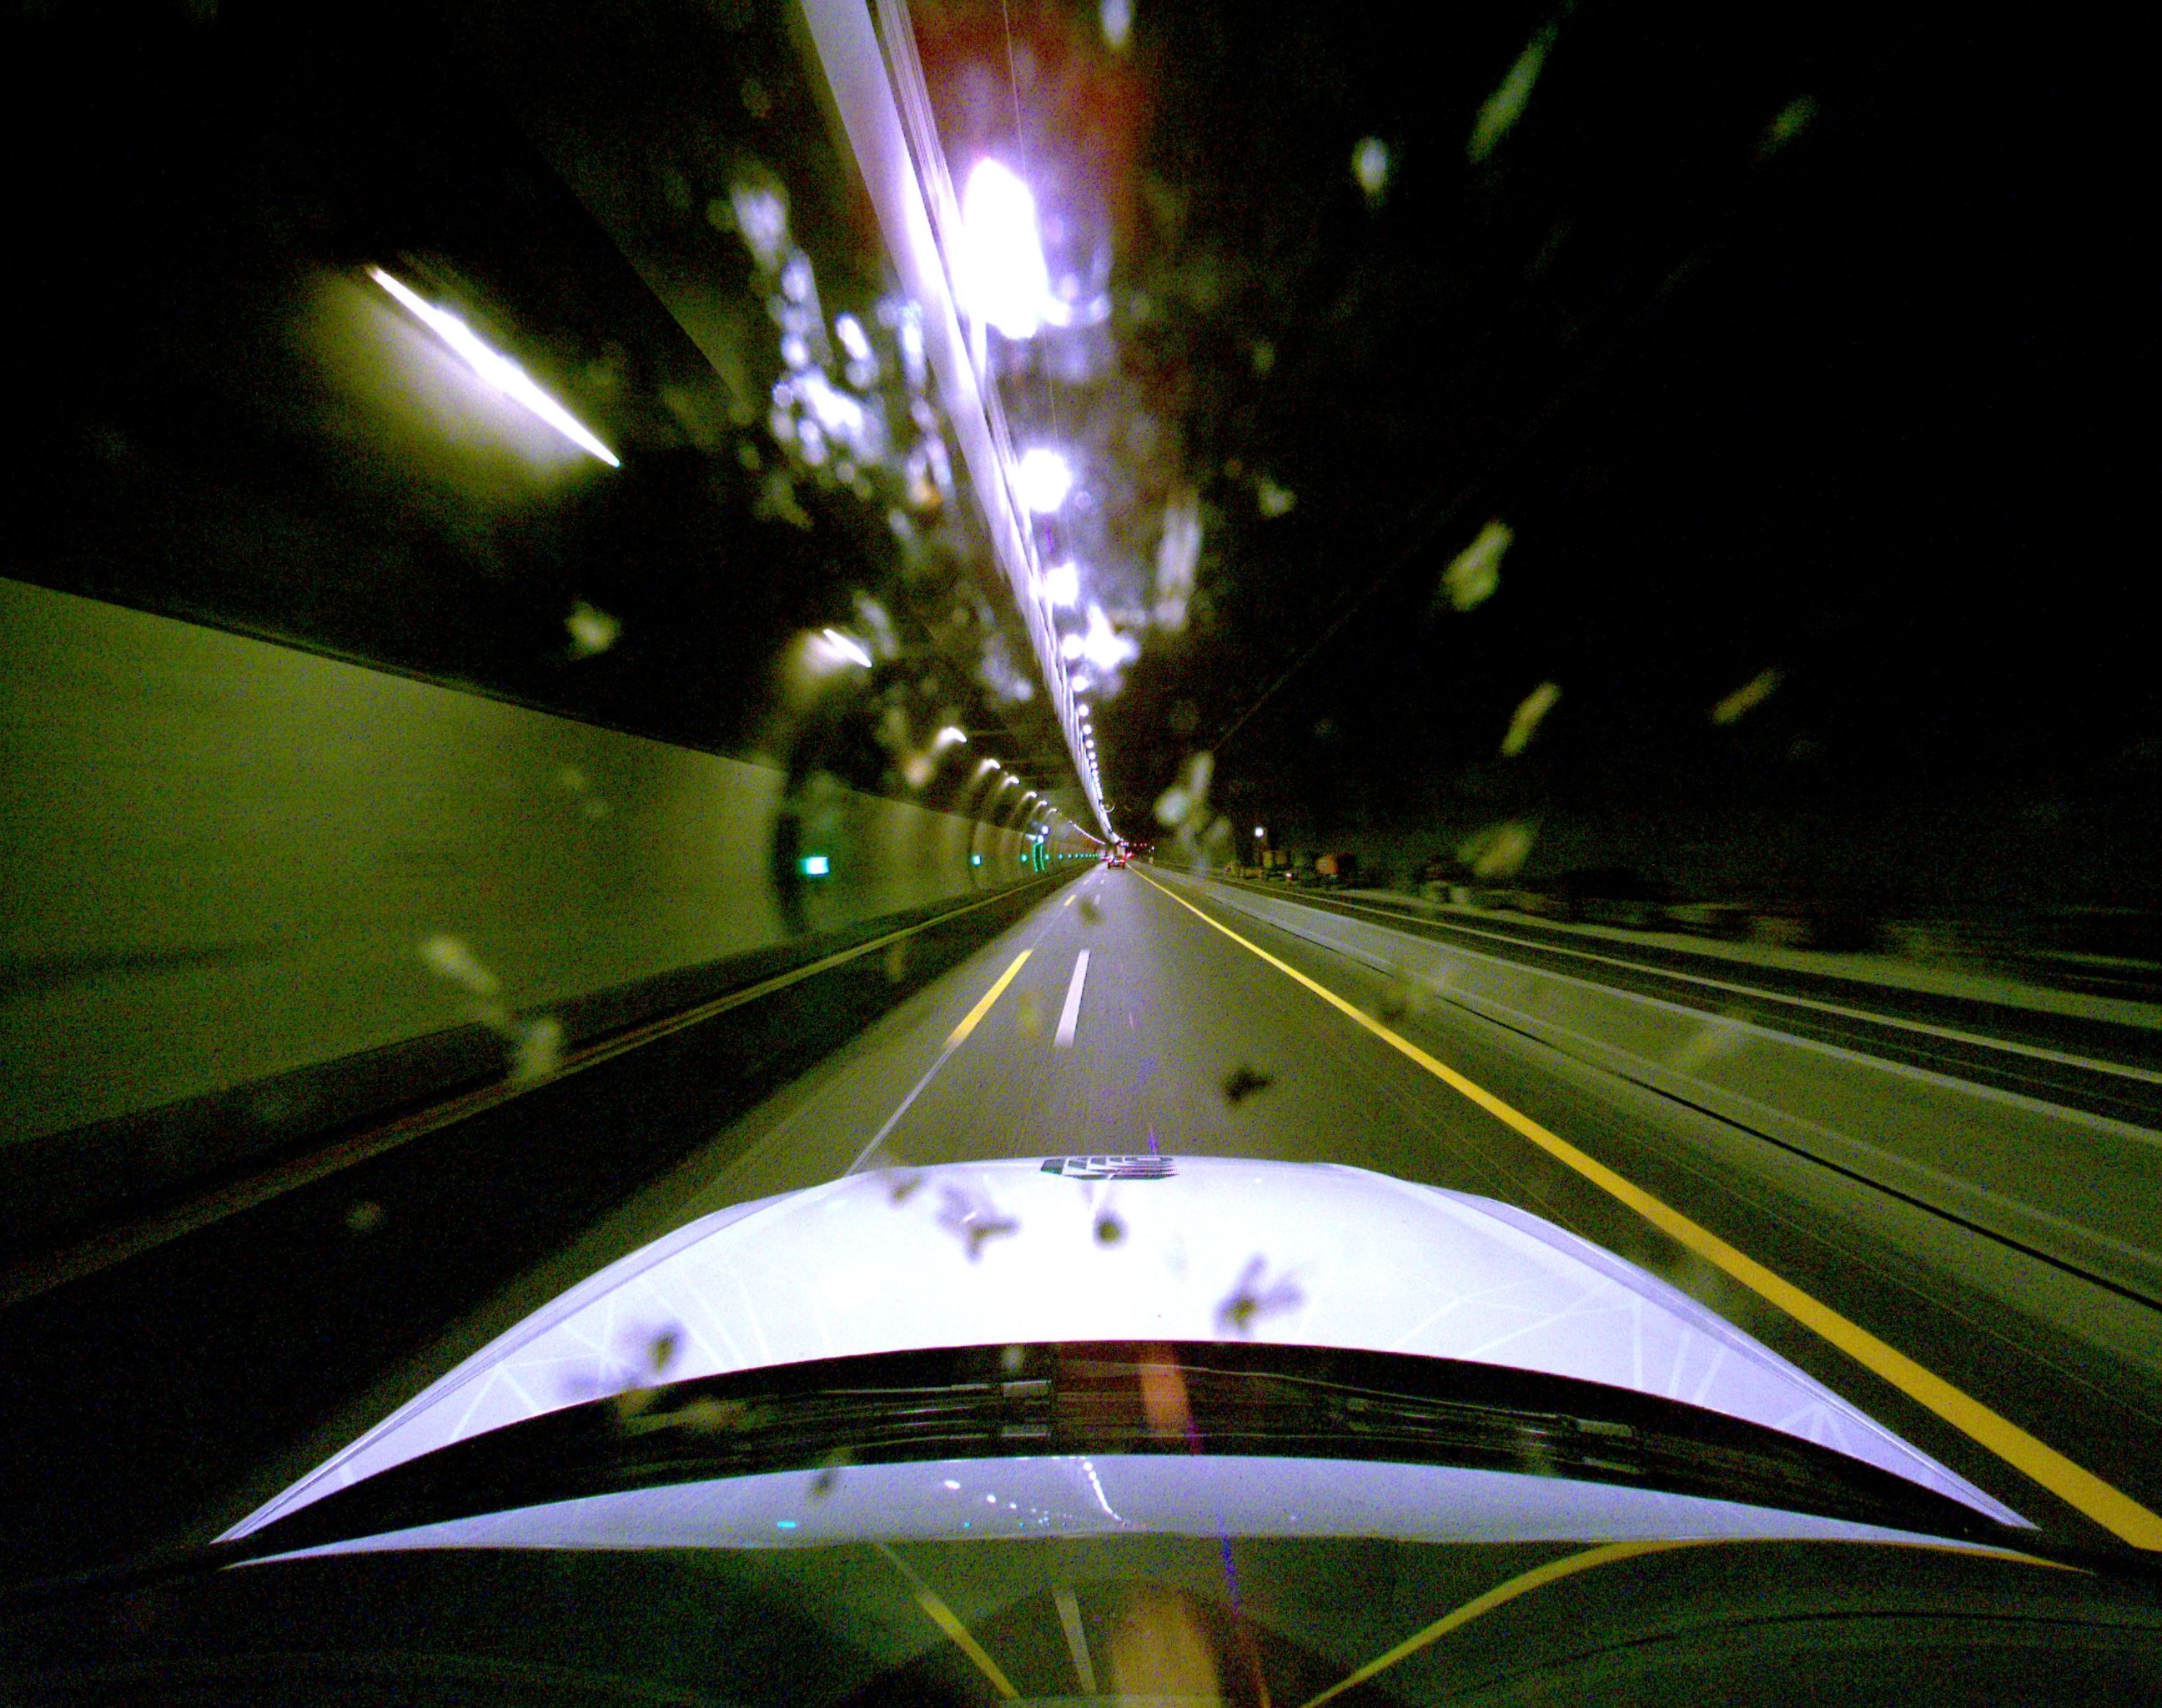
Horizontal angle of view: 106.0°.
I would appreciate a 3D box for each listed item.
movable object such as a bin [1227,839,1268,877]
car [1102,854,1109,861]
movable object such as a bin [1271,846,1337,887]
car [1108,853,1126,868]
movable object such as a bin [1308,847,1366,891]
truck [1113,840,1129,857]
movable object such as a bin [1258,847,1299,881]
[{"bbox_3d":[9.997,0.244,49.181,1.677,2.145,4.629,0,-1,2],"label":"movable object such as a bin"},{"bbox_3d":[6.009,0.865,198.285,1.820,1.607,4.001,0,-1,2],"label":"car"},{"bbox_3d":[10.186,0.528,37.539,1.853,1.675,4.503,-4,0,2],"label":"movable object such as a bin"},{"bbox_3d":[3.840,0.689,86.858,1.881,1.607,4.001,0,-1,2],"label":"car"},{"bbox_3d":[10.140,0.556,32.399,1.298,1.593,3.056,-4,0,2],"label":"movable object such as a bin"},{"bbox_3d":[12.857,-1.716,261.063,4.525,4.987,9.610,0,-1,4],"label":"truck"},{"bbox_3d":[10.567,0.532,43.822,1.550,1.709,3.056,0,-1,2],"label":"movable object such as a bin"}]
